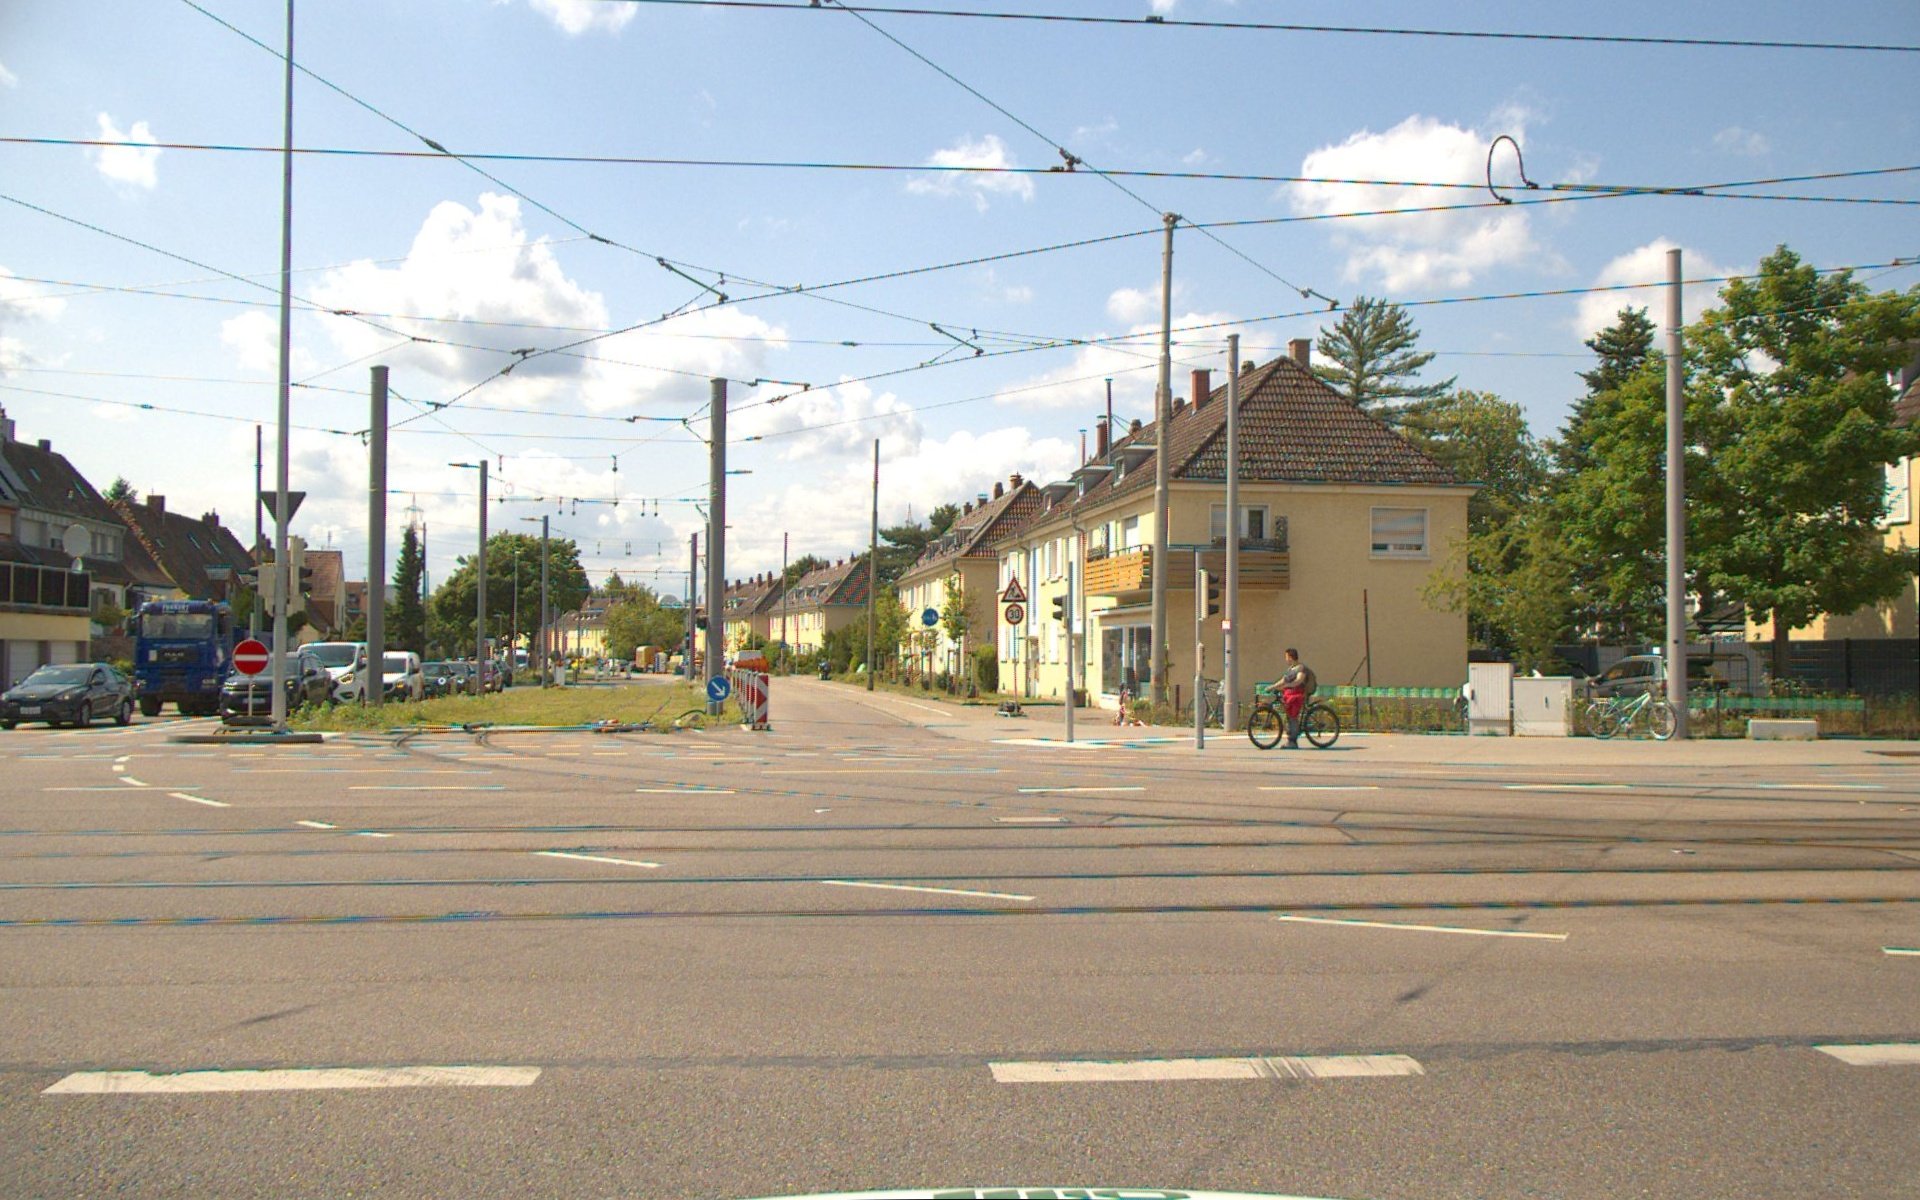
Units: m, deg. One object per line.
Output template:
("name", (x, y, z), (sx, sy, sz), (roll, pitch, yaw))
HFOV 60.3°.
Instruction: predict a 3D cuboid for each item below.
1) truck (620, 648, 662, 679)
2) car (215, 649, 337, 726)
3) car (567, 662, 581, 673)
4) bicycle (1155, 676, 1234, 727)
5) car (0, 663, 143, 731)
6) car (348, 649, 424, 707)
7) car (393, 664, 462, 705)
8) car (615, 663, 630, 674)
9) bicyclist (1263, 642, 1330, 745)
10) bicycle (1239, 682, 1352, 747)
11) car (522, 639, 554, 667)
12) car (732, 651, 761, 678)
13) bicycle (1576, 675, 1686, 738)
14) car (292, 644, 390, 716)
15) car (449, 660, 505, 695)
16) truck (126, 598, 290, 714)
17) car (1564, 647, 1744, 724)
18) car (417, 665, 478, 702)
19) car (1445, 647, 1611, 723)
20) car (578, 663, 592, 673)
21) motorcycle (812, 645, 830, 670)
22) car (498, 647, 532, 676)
("truck", (-38.167, 7.580, 197.523), (2.607, 3.556, 9.359), (1, -2, -25))
("car", (-16.689, 2.087, 40.573), (1.753, 1.751, 4.431), (0, -1, -9))
("car", (-54.217, 9.460, 232.418), (1.244, 1.452, 2.639), (1, -2, -29))
("bicycle", (5.325, 2.296, 37.707), (0.586, 1.116, 2.256), (1, -3, -27))
("car", (-20.964, 2.232, 38.891), (1.793, 1.513, 4.326), (0, -2, -7))
("car", (-18.954, 2.559, 54.754), (1.701, 1.813, 4.393), (0, -2, -10))
("car", (-19.708, 3.093, 61.333), (1.880, 1.444, 3.989), (0, -2, -10))
("car", (-42.829, 8.675, 209.616), (1.242, 1.452, 2.643), (1, -2, -26))
("bicyclist", (6.025, 1.659, 29.638), (0.946, 1.806, 0.713), (1, -3, -29))
("bicycle", (6.015, 2.032, 29.617), (2.005, 1.121, 0.708), (1, -3, -30))
("car", (-37.713, 4.739, 147.733), (2.371, 2.412, 4.851), (1, -2, -19))
("car", (-17.836, 5.384, 138.221), (2.029, 2.187, 4.863), (0, -2, -12))
("bicycle", (12.538, 1.971, 30.924), (1.772, 1.124, 0.699), (-1, -2, 37))
("car", (-17.496, 2.237, 46.953), (1.781, 1.956, 4.735), (0, -2, -10))
("car", (-21.921, 3.481, 75.174), (1.809, 1.520, 4.845), (0, -2, -9))
("truck", (-22.735, 1.720, 50.437), (2.718, 3.244, 7.562), (0, -2, -10))
("car", (15.653, 1.943, 37.536), (1.790, 1.649, 3.987), (0, -3, -12))
("car", (-21.145, 3.415, 68.426), (1.810, 1.438, 4.903), (0, -2, -10))
("car", (12.882, 1.946, 37.773), (1.790, 1.649, 3.987), (0, -3, -12))
("car", (-51.886, 9.415, 229.011), (1.243, 1.452, 2.641), (1, -2, -27))
("motorcycle", (-9.573, 3.935, 113.529), (1.047, 1.664, 2.078), (0, -2, -10))
("car", (-36.484, 5.047, 135.594), (2.371, 2.379, 4.851), (1, -2, -19))
